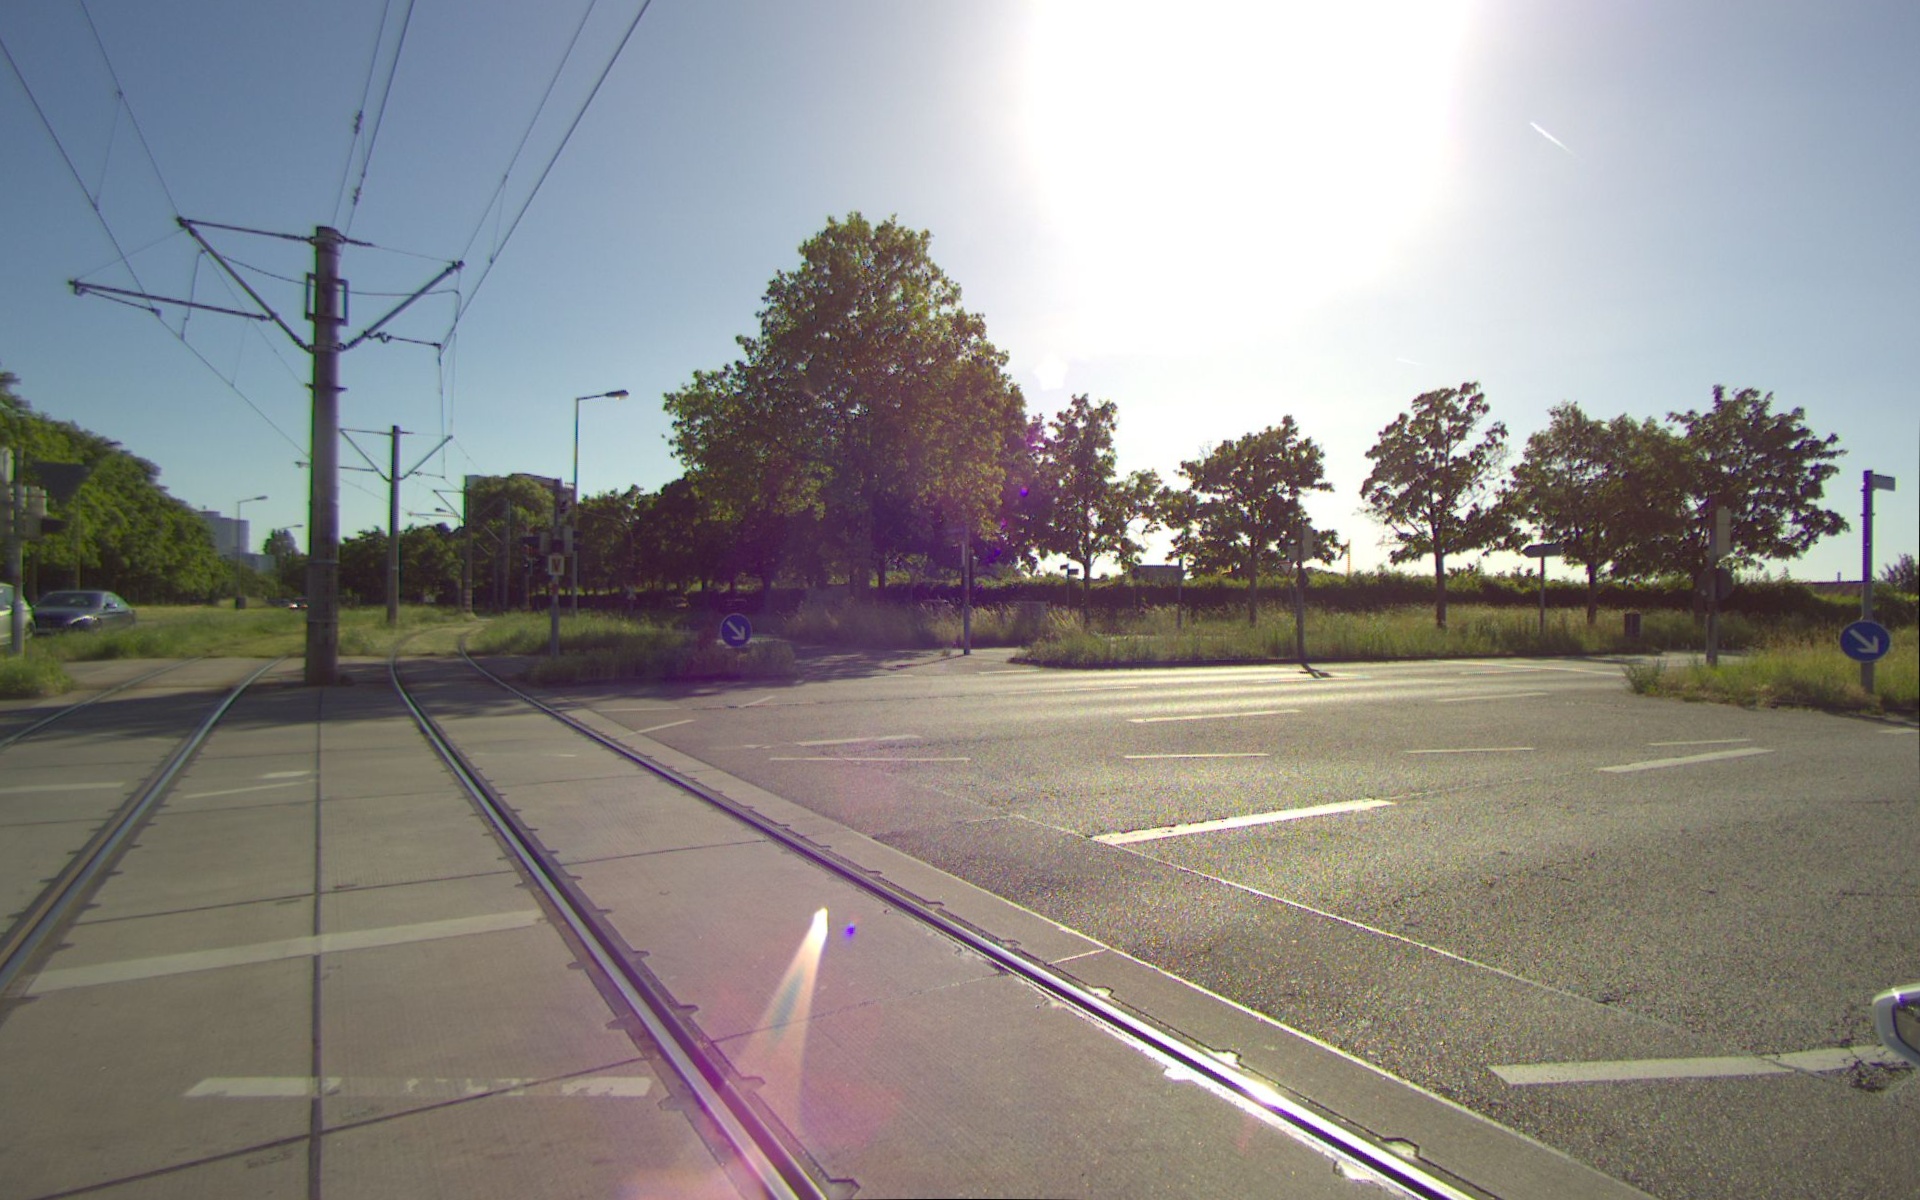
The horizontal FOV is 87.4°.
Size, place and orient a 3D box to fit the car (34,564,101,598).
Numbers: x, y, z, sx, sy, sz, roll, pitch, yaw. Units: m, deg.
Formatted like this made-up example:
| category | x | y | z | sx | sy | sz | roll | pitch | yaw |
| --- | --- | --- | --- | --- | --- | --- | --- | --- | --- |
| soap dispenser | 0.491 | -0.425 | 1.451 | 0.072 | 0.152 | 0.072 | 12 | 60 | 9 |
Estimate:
| category | x | y | z | sx | sy | sz | roll | pitch | yaw |
| --- | --- | --- | --- | --- | --- | --- | --- | --- | --- |
| car | -45.010 | -0.935 | 50.739 | 1.832 | 1.581 | 3.892 | 1 | 0 | -32 |

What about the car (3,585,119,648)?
| category | x | y | z | sx | sy | sz | roll | pitch | yaw |
| --- | --- | --- | --- | --- | --- | --- | --- | --- | --- |
| car | -24.669 | 0.410 | 27.704 | 1.833 | 1.581 | 3.888 | 1 | 0 | -34 |

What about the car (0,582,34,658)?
| category | x | y | z | sx | sy | sz | roll | pitch | yaw |
| --- | --- | --- | --- | --- | --- | --- | --- | --- | --- |
| car | -21.409 | 0.395 | 21.419 | 1.833 | 1.581 | 3.888 | 1 | 0 | -34 |
